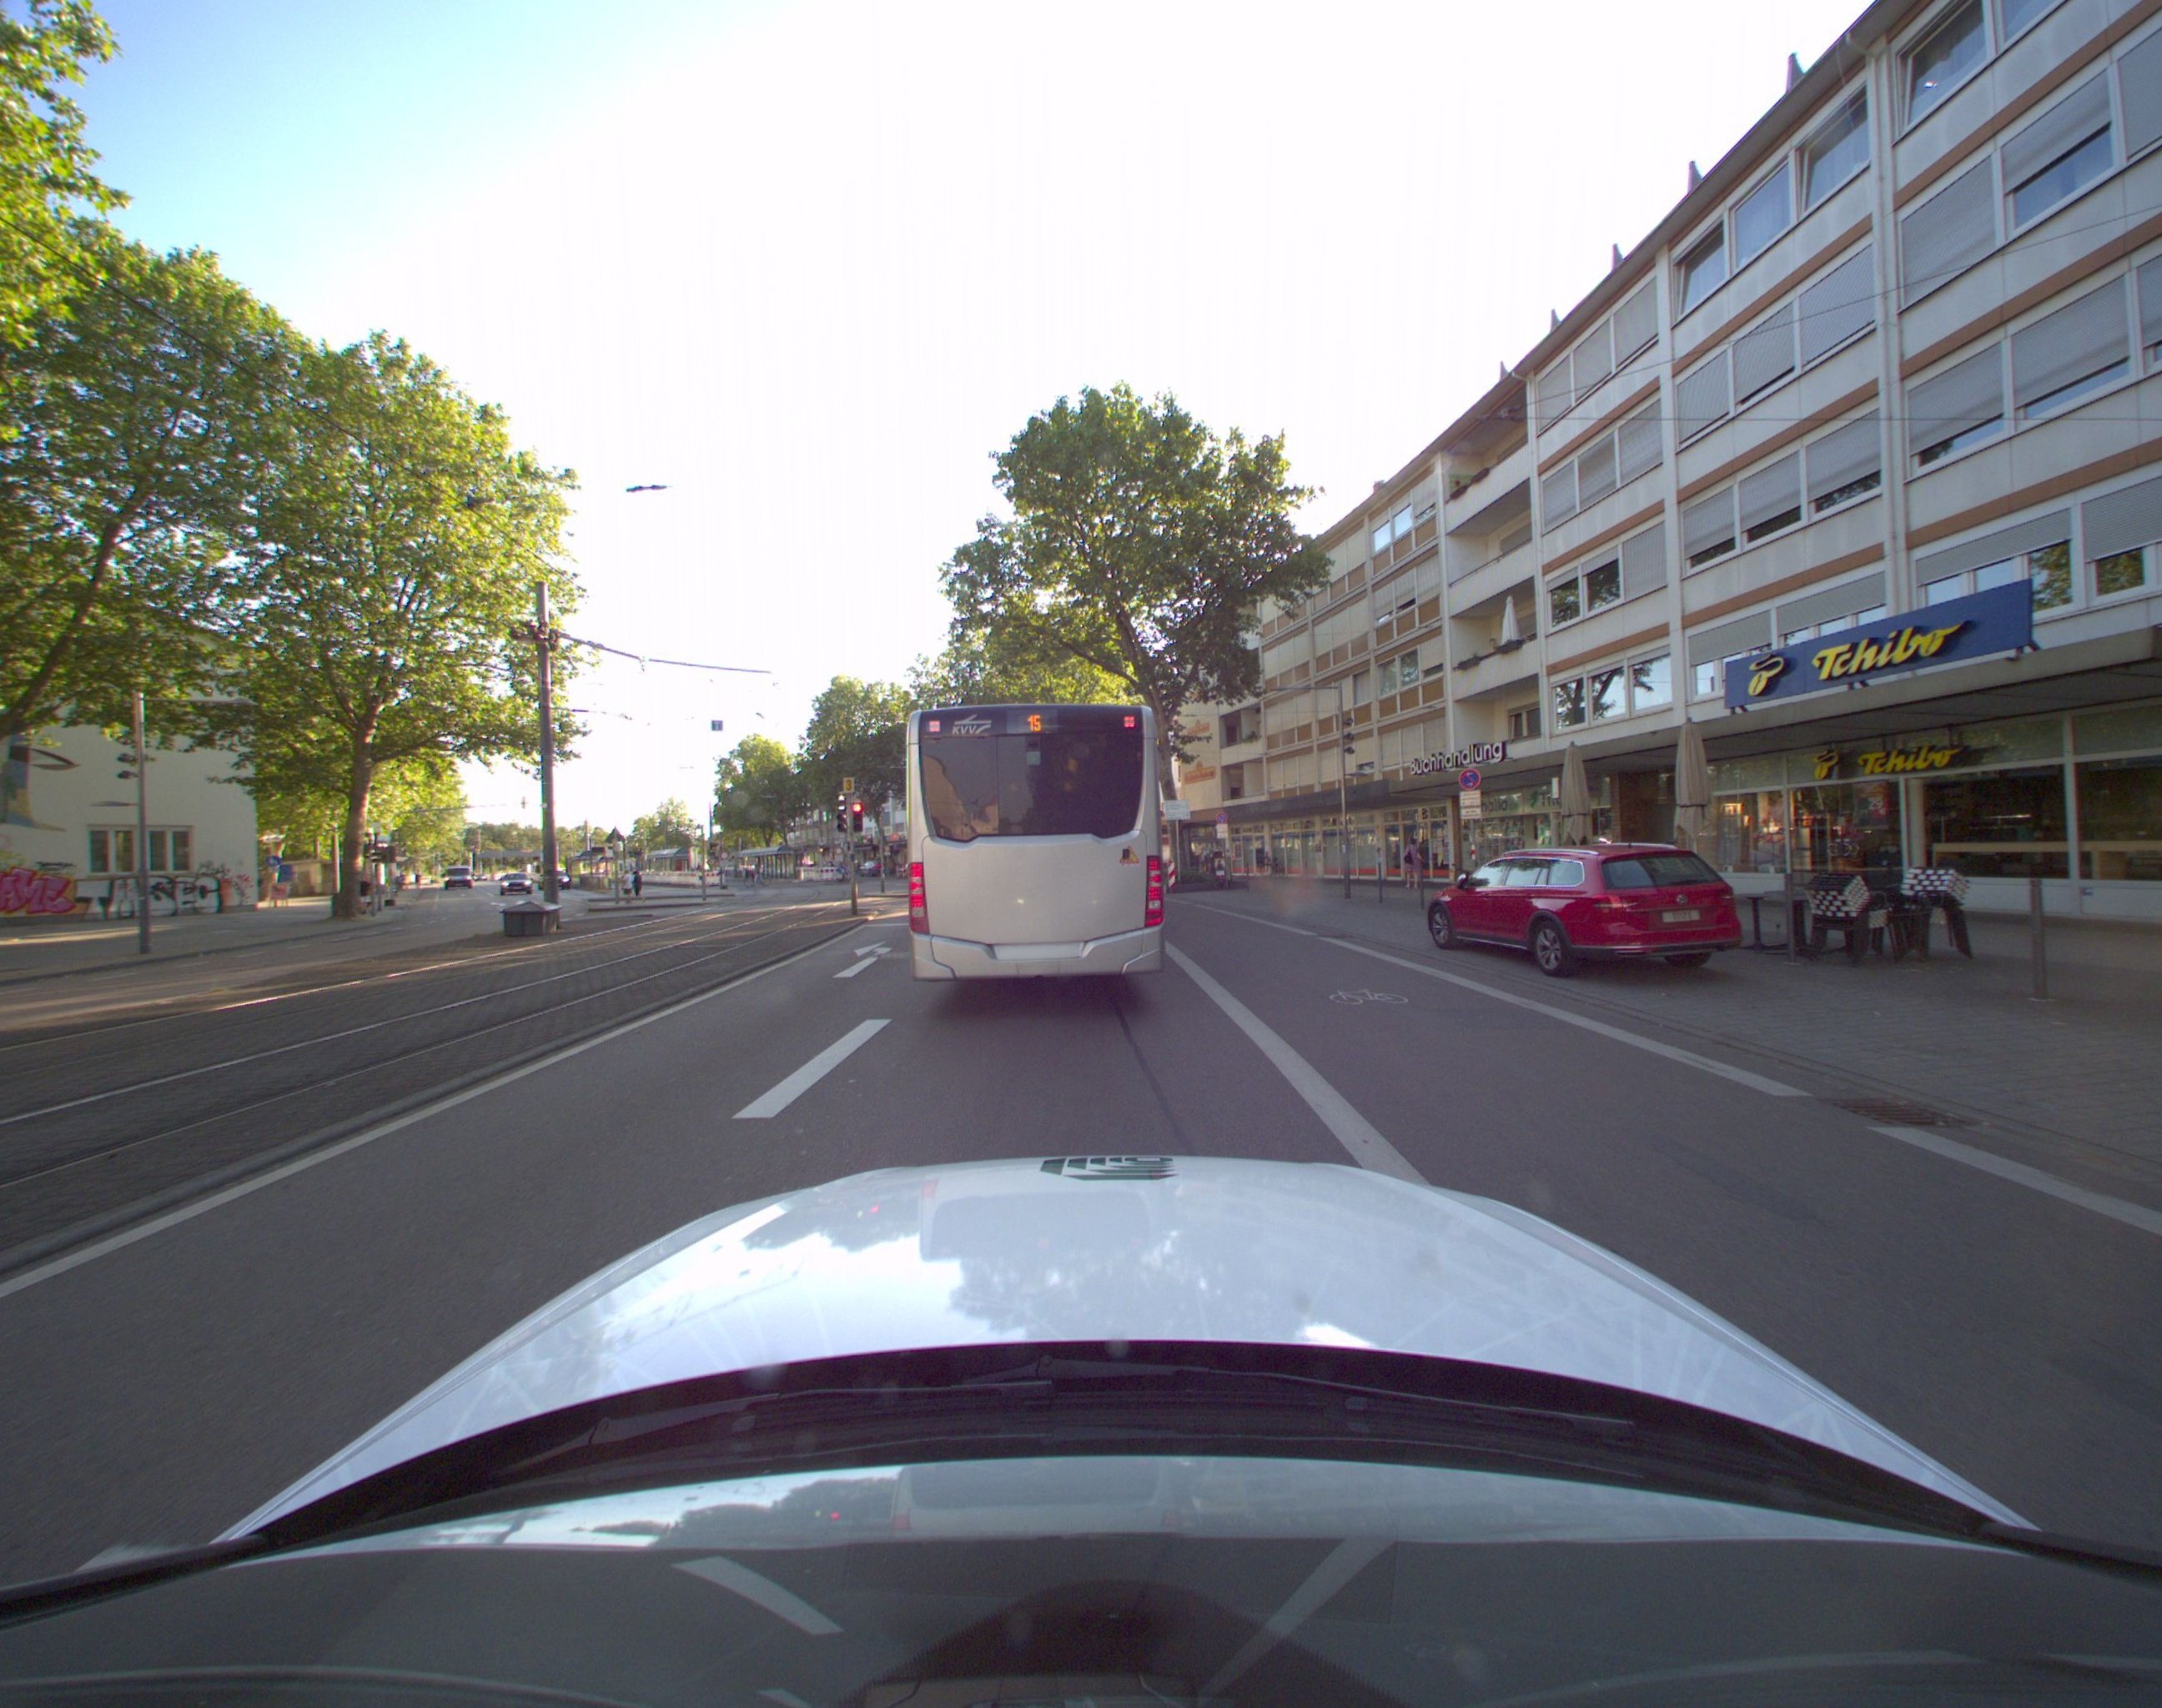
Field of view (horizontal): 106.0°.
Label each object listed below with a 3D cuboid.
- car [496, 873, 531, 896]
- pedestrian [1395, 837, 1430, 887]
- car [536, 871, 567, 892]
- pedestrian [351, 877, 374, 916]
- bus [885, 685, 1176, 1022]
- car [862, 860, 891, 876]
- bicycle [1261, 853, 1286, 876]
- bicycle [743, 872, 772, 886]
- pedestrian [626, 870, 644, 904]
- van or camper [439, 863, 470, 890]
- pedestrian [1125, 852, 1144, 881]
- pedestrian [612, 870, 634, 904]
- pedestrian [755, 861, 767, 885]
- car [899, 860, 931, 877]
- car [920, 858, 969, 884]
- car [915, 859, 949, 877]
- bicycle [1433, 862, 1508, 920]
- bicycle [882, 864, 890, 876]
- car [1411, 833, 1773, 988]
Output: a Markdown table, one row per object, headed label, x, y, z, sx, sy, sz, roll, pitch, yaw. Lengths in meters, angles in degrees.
| label | x | y | z | sx | sy | sz | roll | pitch | yaw |
| --- | --- | --- | --- | --- | --- | --- | --- | --- | --- |
| car | -39.458 | 2.068 | 56.659 | 1.900 | 1.472 | 4.162 | -2 | 0 | -34 |
| pedestrian | 10.576 | 0.263 | 25.981 | 0.640 | 1.552 | 0.804 | -2 | 0 | -12 |
| car | -42.951 | 2.230 | 66.037 | 1.900 | 1.585 | 4.160 | -2 | 0 | -36 |
| pedestrian | -32.342 | 1.887 | 36.673 | 0.426 | 1.710 | 0.681 | 0 | -1 | 34 |
| bus | -0.618 | 0.017 | 12.801 | 2.651 | 3.098 | 10.208 | -2 | 0 | -2 |
| car | -21.105 | 1.477 | 83.798 | 1.675 | 1.468 | 3.375 | -6 | 2 | -36 |
| bicycle | 9.504 | 0.524 | 40.230 | 0.438 | 1.092 | 1.453 | -4 | 1 | -17 |
| bicycle | -23.822 | 1.807 | 59.991 | 1.855 | 0.942 | 0.458 | -2 | 0 | -38 |
| pedestrian | -20.212 | 1.486 | 36.924 | 0.405 | 1.504 | 0.520 | -2 | 0 | 18 |
| van or camper | -60.794 | 2.181 | 79.059 | 2.184 | 2.319 | 5.047 | -4 | 1 | -37 |
| pedestrian | 3.336 | 0.758 | 50.709 | 0.838 | 1.712 | 0.787 | -4 | 1 | -22 |
| pedestrian | -20.429 | 1.462 | 36.324 | 0.516 | 1.504 | 0.596 | -2 | 0 | 19 |
| pedestrian | -23.467 | 1.390 | 59.688 | 0.726 | 1.725 | 0.395 | -2 | 0 | -39 |
| car | -15.617 | 1.355 | 76.564 | 1.675 | 1.394 | 3.375 | -6 | 2 | -36 |
| car | -8.347 | 0.999 | 49.513 | 1.766 | 1.464 | 3.964 | -2 | 0 | -27 |
| car | -13.435 | 1.256 | 73.177 | 1.675 | 1.516 | 3.376 | -5 | 2 | -34 |
| bicycle | 7.824 | 0.715 | 16.434 | 0.511 | 1.070 | 1.657 | -4 | 0 | -7 |
| bicycle | -19.296 | 1.560 | 80.639 | 0.508 | 1.211 | 2.079 | -2 | 0 | -18 |
| car | 6.300 | 0.595 | 10.829 | 1.774 | 1.496 | 4.564 | -4 | 0 | -2 |
